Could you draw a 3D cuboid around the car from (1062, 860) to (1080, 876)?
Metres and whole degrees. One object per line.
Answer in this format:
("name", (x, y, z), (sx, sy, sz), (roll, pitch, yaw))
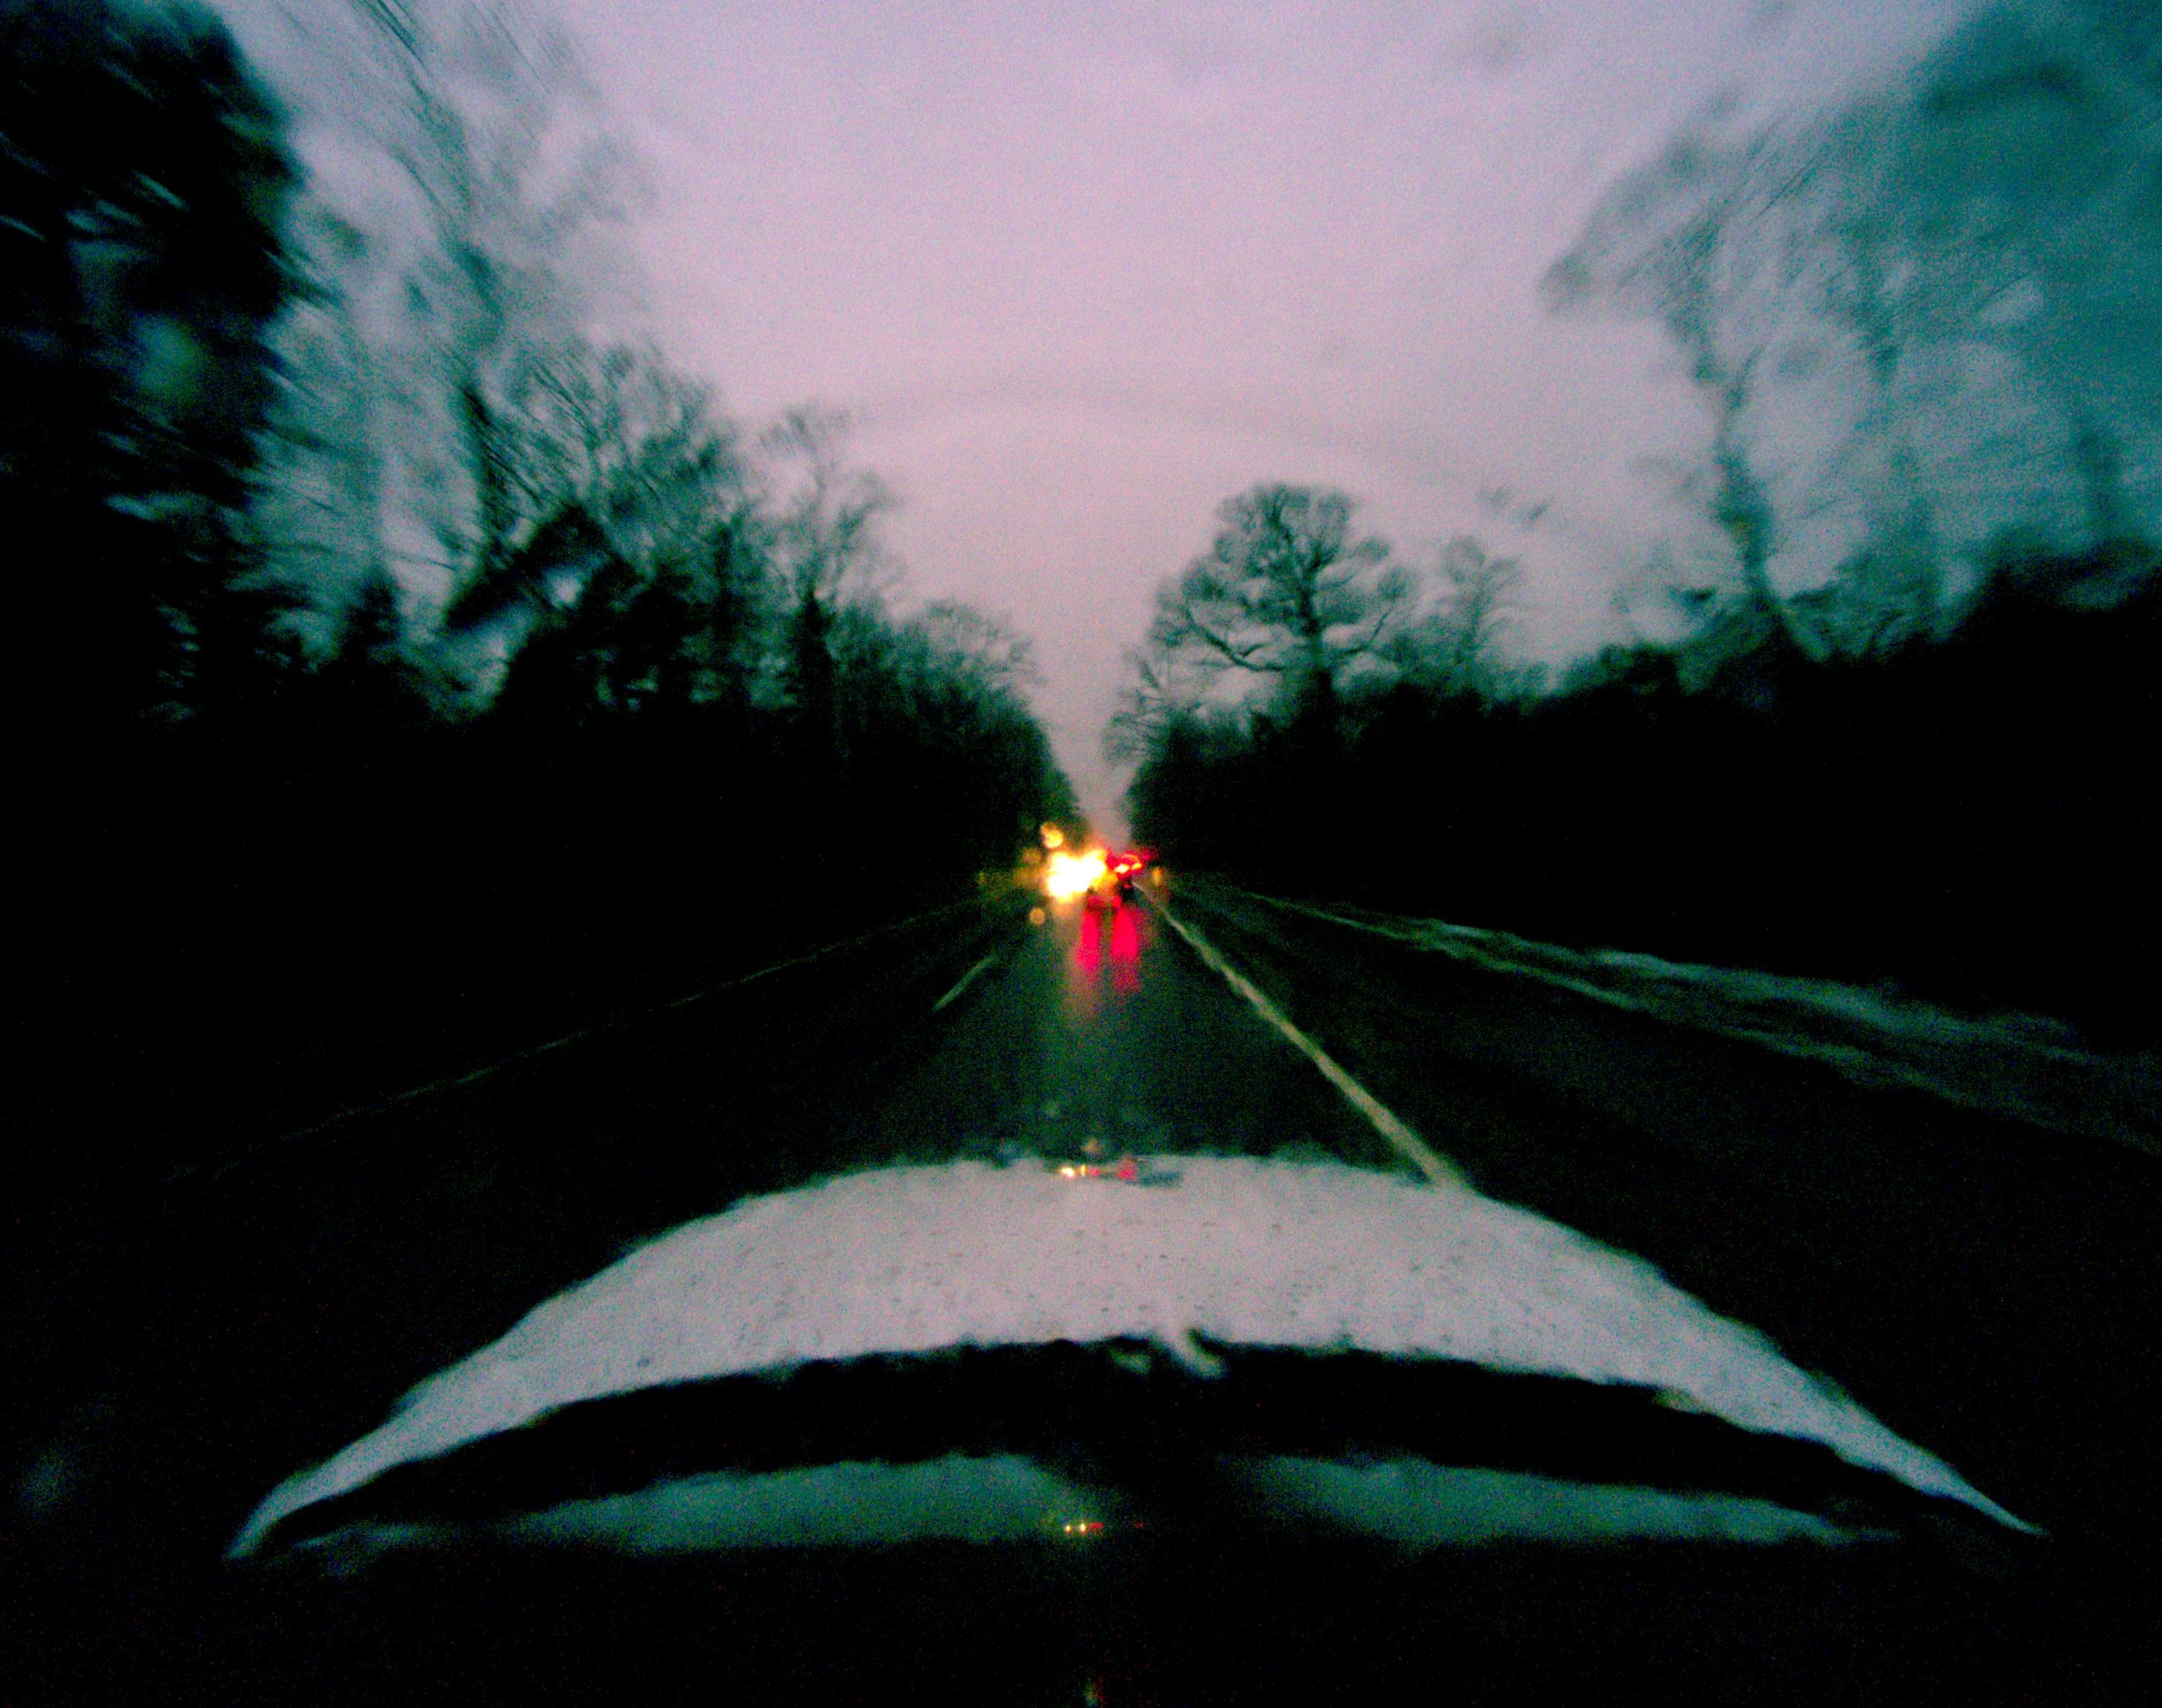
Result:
("car", (-0.994, 1.423, 82.846), (1.685, 1.420, 4.002), (-2, 0, 2))

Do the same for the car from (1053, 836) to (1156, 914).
("car", (0.882, 0.674, 28.432), (3.171, 2.387, 6.640), (-1, -1, 3))
